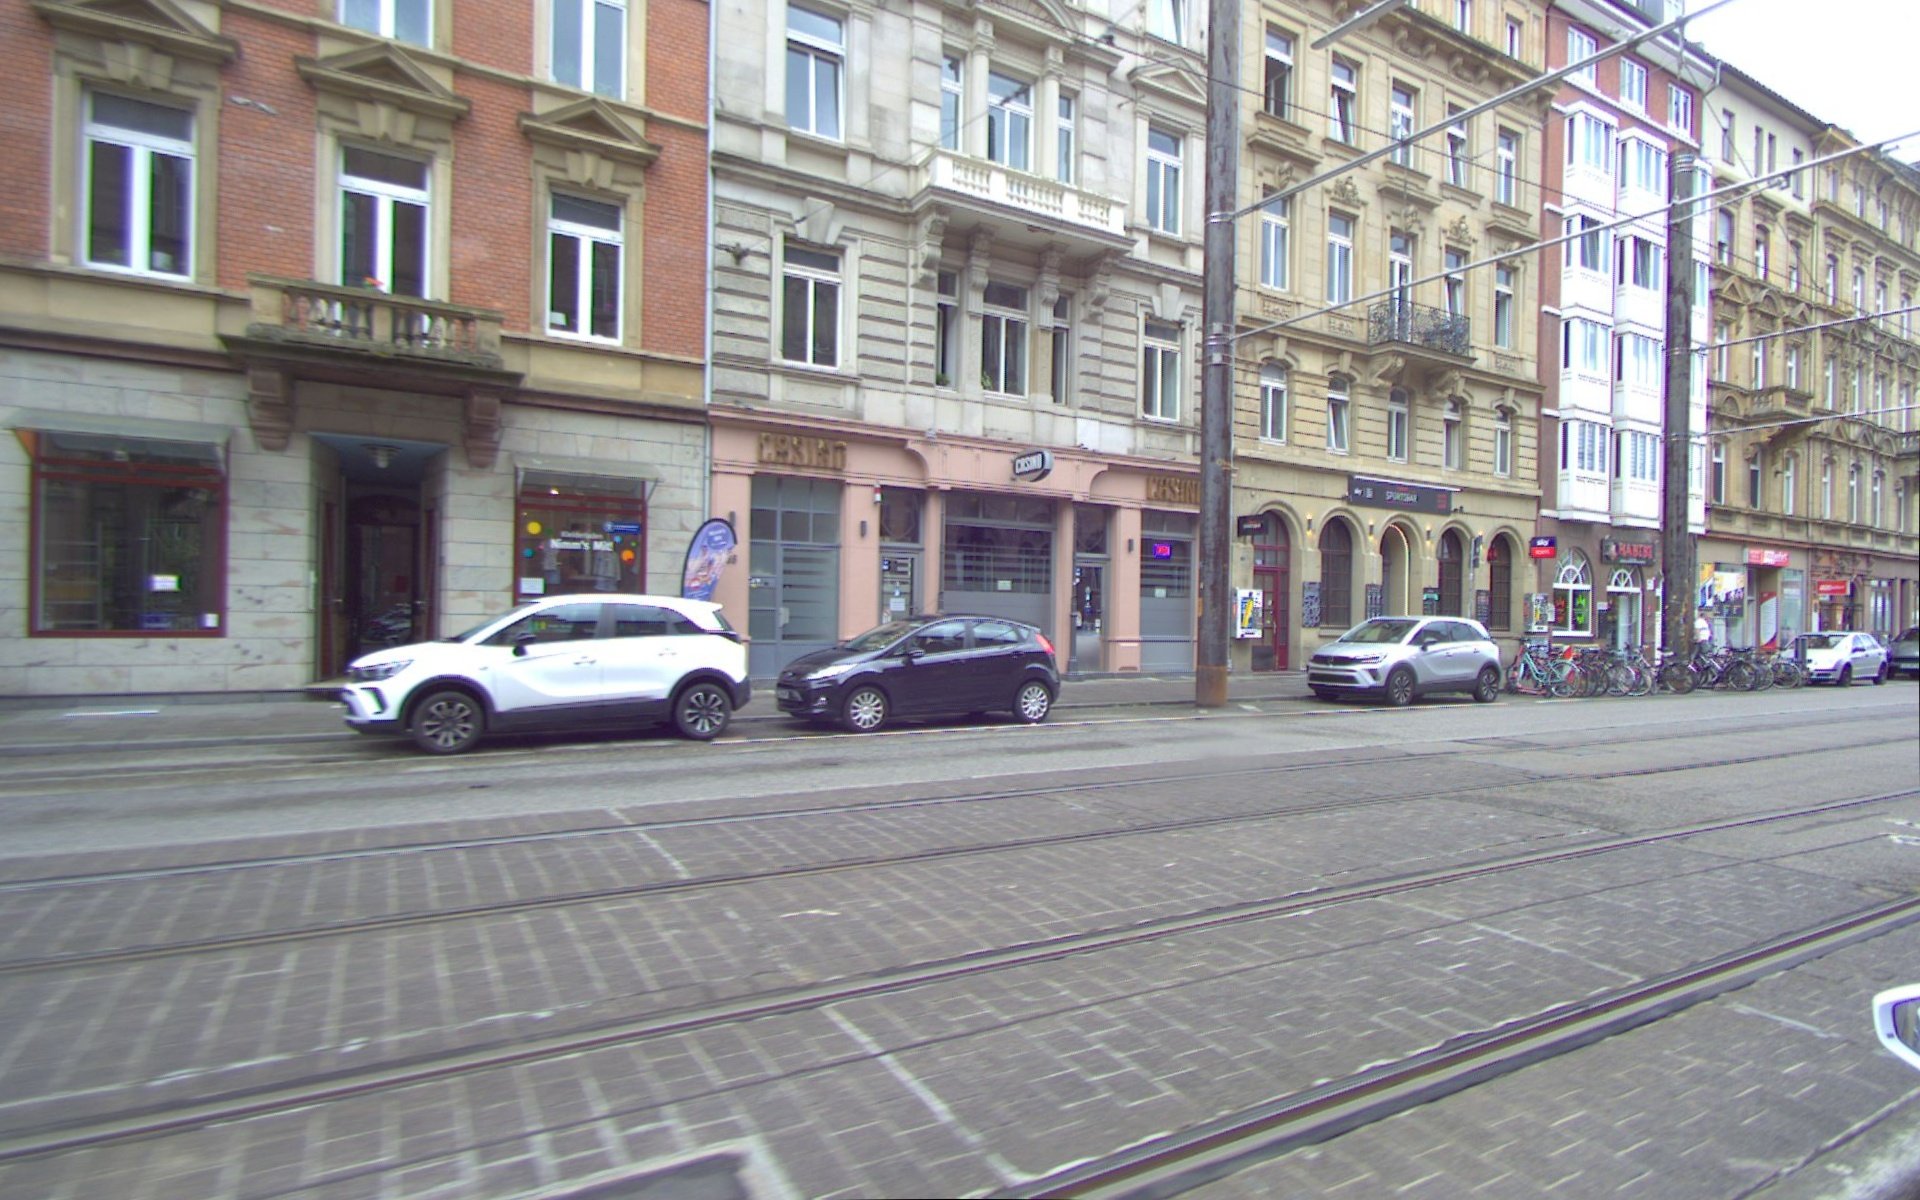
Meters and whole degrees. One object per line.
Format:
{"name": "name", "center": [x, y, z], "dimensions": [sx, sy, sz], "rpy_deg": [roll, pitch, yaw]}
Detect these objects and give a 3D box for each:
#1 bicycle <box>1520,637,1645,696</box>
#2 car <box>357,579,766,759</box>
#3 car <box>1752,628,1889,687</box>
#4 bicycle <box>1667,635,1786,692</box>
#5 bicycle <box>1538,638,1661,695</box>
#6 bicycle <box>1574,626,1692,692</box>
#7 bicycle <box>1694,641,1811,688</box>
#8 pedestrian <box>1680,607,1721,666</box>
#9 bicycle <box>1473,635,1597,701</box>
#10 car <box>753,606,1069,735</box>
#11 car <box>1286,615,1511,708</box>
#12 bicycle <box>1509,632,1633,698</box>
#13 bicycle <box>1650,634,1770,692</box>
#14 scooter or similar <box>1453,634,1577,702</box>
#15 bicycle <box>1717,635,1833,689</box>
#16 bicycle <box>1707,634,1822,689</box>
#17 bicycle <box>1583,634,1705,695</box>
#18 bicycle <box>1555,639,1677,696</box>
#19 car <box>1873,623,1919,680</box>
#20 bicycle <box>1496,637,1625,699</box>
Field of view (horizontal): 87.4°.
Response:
{"name": "bicycle", "center": [13.536, 1.424, 21.922], "dimensions": [0.696, 1.219, 2.272], "rpy_deg": [1, -3, -29]}
{"name": "car", "center": [-4.374, 0.705, 11.238], "dimensions": [3.999, 1.694, 1.735], "rpy_deg": [1, -2, -31]}
{"name": "car", "center": [23.560, 1.527, 27.484], "dimensions": [3.875, 1.508, 1.735], "rpy_deg": [1, -2, -31]}
{"name": "bicycle", "center": [19.041, 1.550, 25.021], "dimensions": [0.658, 1.347, 2.272], "rpy_deg": [1, -3, -29]}
{"name": "bicycle", "center": [14.174, 1.451, 22.351], "dimensions": [0.658, 1.219, 2.272], "rpy_deg": [1, -3, -29]}
{"name": "bicycle", "center": [15.399, 1.321, 23.065], "dimensions": [0.443, 1.311, 2.272], "rpy_deg": [1, 1, -29]}
{"name": "bicycle", "center": [20.133, 1.622, 25.585], "dimensions": [0.612, 1.055, 2.272], "rpy_deg": [1, 0, -29]}
{"name": "pedestrian", "center": [22.982, 1.121, 31.183], "dimensions": [0.769, 1.806, 0.655], "rpy_deg": [2, 0, 7]}
{"name": "bicycle", "center": [11.889, 1.374, 20.852], "dimensions": [0.541, 1.219, 2.272], "rpy_deg": [1, 0, -29]}
{"name": "car", "center": [-0.621, 0.874, 13.419], "dimensions": [3.873, 1.508, 1.736], "rpy_deg": [1, -2, -30]}
{"name": "car", "center": [8.159, 1.078, 18.620], "dimensions": [4.176, 1.553, 1.735], "rpy_deg": [1, -2, -31]}
{"name": "bicycle", "center": [13.052, 1.366, 21.542], "dimensions": [0.534, 1.219, 2.272], "rpy_deg": [3, 0, -29]}
{"name": "bicycle", "center": [18.331, 1.514, 24.615], "dimensions": [0.658, 1.347, 2.272], "rpy_deg": [1, -3, -29]}
{"name": "scooter or similar", "center": [11.323, 1.353, 20.580], "dimensions": [0.541, 1.219, 2.272], "rpy_deg": [1, 0, -29]}
{"name": "bicycle", "center": [21.298, 1.598, 26.310], "dimensions": [0.658, 1.347, 2.272], "rpy_deg": [1, -3, -29]}
{"name": "bicycle", "center": [20.706, 1.563, 25.908], "dimensions": [0.515, 1.347, 2.272], "rpy_deg": [1, -3, -29]}
{"name": "bicycle", "center": [15.845, 1.472, 23.346], "dimensions": [0.658, 1.347, 2.272], "rpy_deg": [1, -3, -29]}
{"name": "bicycle", "center": [14.781, 1.489, 22.711], "dimensions": [0.658, 1.219, 2.272], "rpy_deg": [1, -3, -29]}
{"name": "car", "center": [30.810, 1.610, 31.673], "dimensions": [4.977, 1.712, 1.803], "rpy_deg": [1, -2, -33]}
{"name": "bicycle", "center": [12.541, 1.393, 21.072], "dimensions": [0.696, 1.219, 2.272], "rpy_deg": [1, -3, -29]}
